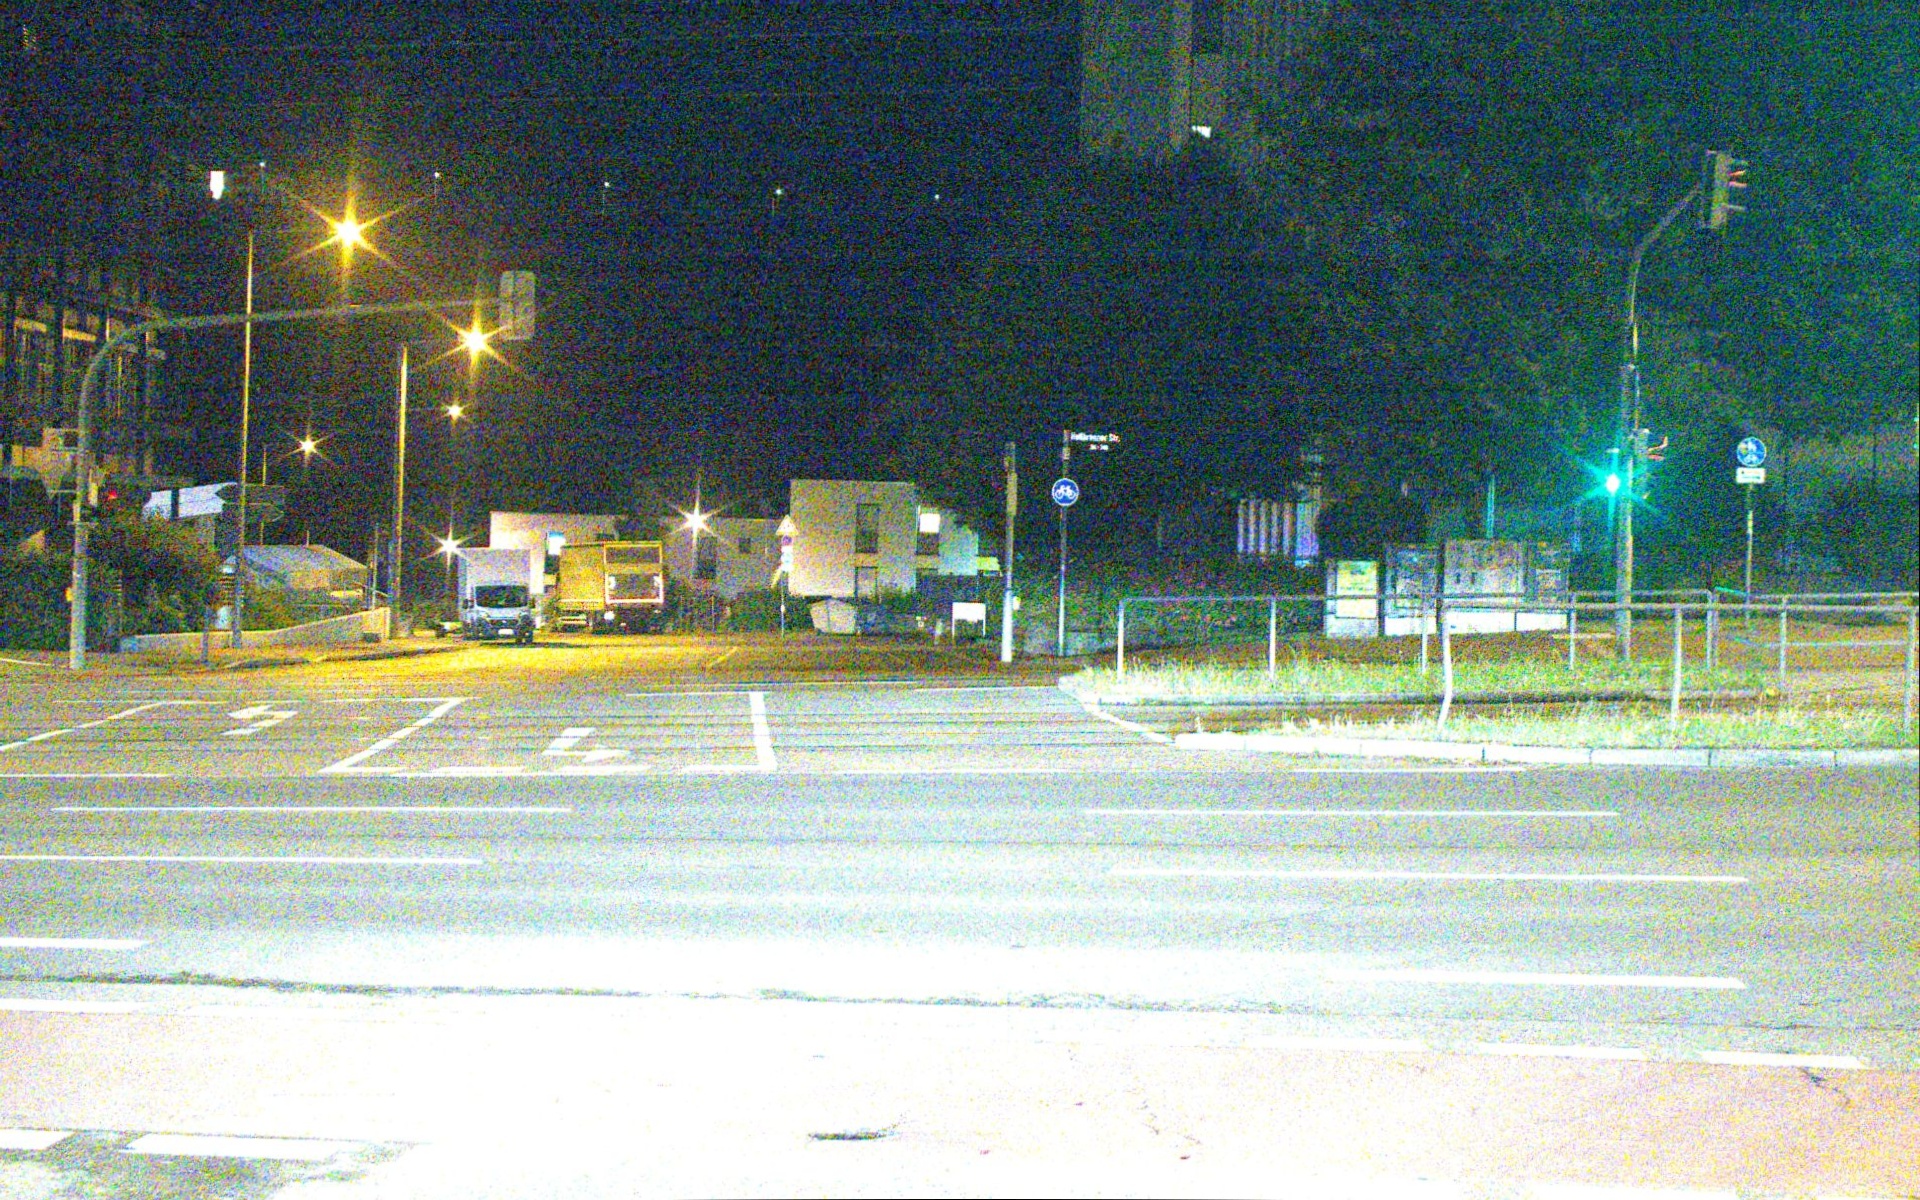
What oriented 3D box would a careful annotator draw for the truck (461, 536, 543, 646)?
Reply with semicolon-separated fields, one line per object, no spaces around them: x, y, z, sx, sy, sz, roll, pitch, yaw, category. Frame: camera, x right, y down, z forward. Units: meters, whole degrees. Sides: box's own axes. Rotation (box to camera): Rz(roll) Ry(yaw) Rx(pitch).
-15.843;-0.331;118.622;2.582;3.694;5.739;1;0;-9;truck

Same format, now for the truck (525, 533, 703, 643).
-15.259;-0.573;150.441;4.821;4.531;12.669;1;1;-19;truck
